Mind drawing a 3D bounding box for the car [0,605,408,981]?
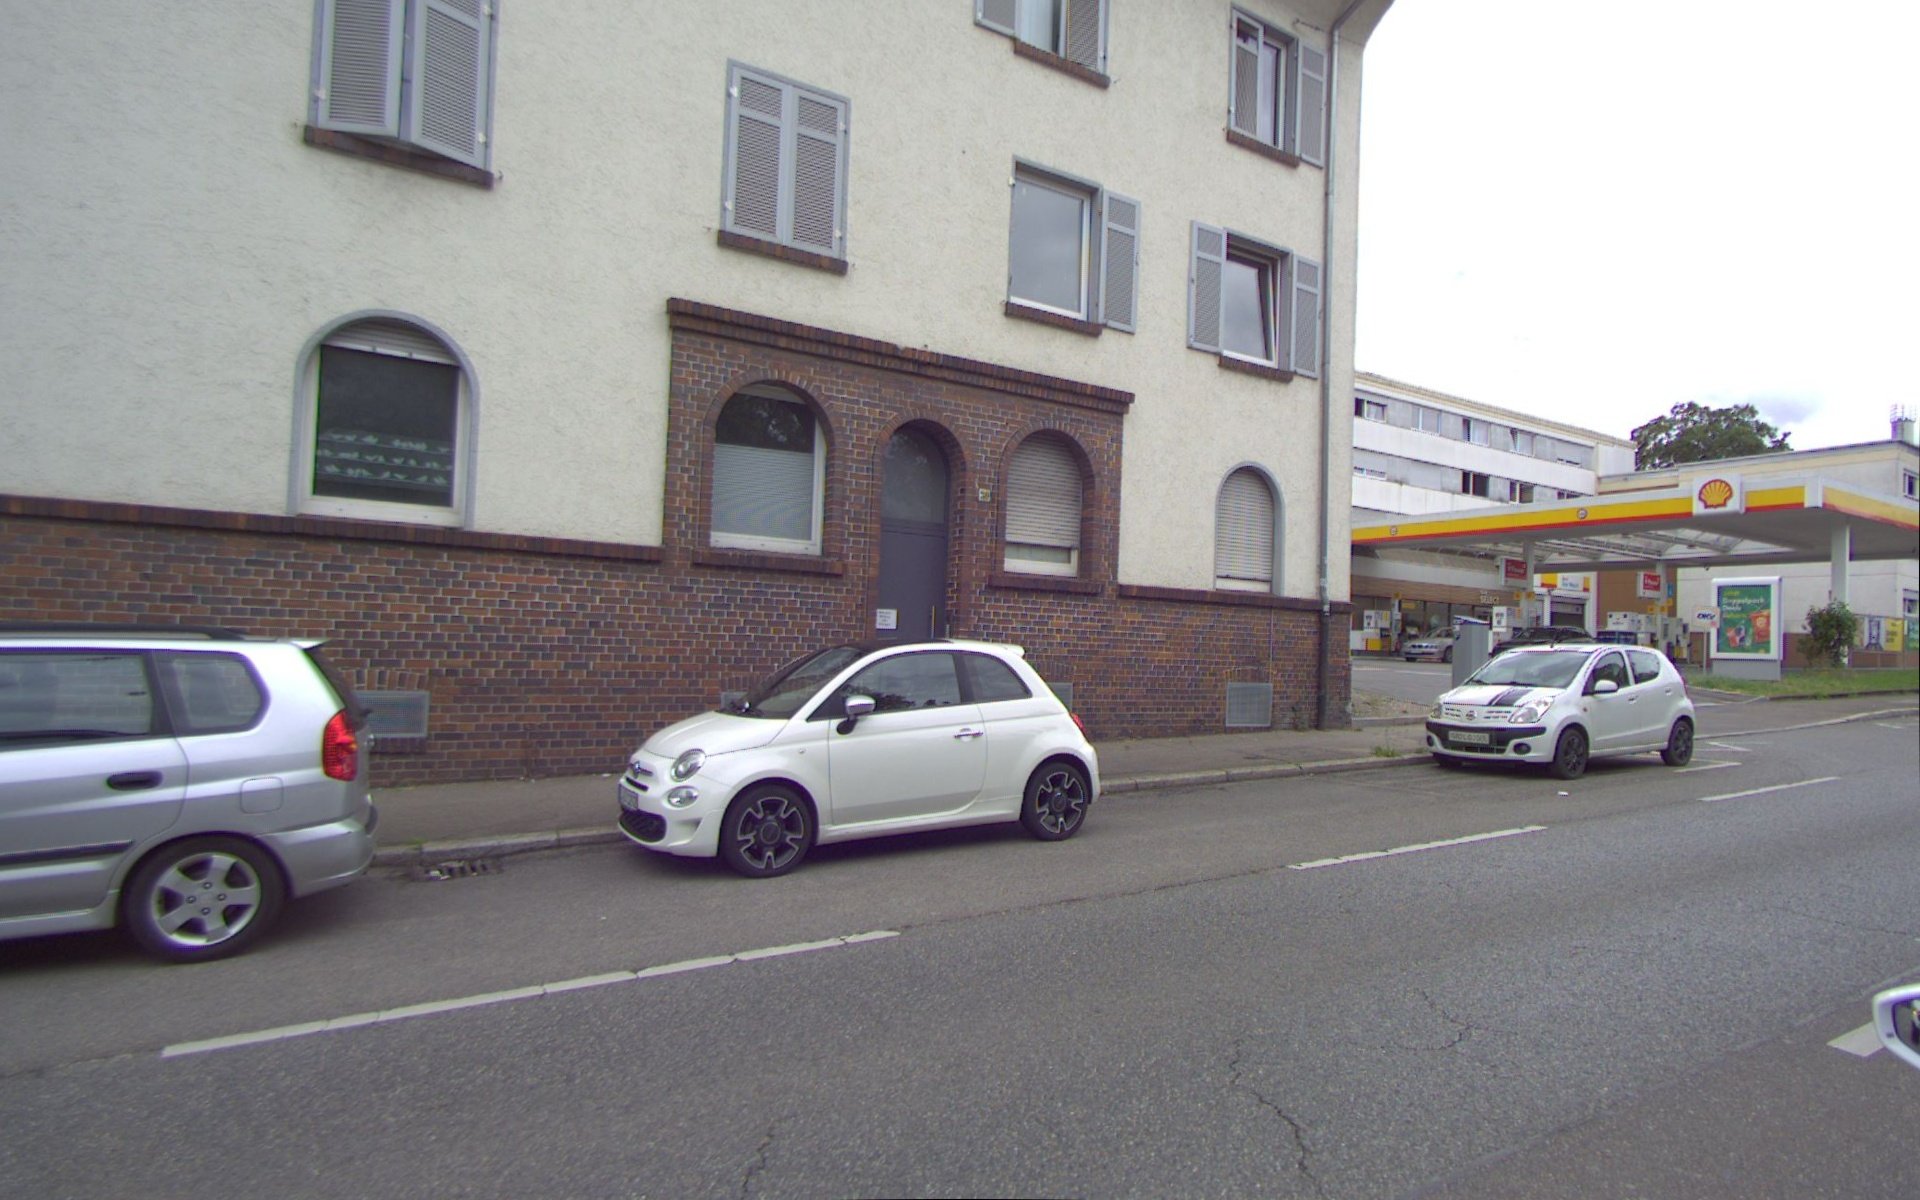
[{"bbox_3d":[-4.930,0.851,4.713,4.035,1.578,1.719,2,-4,-31],"label":"car"}]

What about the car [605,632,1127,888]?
[{"bbox_3d":[-0.631,0.993,7.461,3.562,1.494,1.540,1,-2,-31],"label":"car"}]

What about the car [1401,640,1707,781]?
[{"bbox_3d":[7.182,1.218,12.101,3.621,1.444,1.612,1,-2,-30],"label":"car"}]

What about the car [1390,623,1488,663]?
[{"bbox_3d":[18.784,1.668,39.380,3.594,1.439,1.789,1,-1,-30],"label":"car"}]

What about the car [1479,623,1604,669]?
[{"bbox_3d":[19.853,1.540,34.266,4.365,1.439,1.789,1,-1,-30],"label":"car"}]
